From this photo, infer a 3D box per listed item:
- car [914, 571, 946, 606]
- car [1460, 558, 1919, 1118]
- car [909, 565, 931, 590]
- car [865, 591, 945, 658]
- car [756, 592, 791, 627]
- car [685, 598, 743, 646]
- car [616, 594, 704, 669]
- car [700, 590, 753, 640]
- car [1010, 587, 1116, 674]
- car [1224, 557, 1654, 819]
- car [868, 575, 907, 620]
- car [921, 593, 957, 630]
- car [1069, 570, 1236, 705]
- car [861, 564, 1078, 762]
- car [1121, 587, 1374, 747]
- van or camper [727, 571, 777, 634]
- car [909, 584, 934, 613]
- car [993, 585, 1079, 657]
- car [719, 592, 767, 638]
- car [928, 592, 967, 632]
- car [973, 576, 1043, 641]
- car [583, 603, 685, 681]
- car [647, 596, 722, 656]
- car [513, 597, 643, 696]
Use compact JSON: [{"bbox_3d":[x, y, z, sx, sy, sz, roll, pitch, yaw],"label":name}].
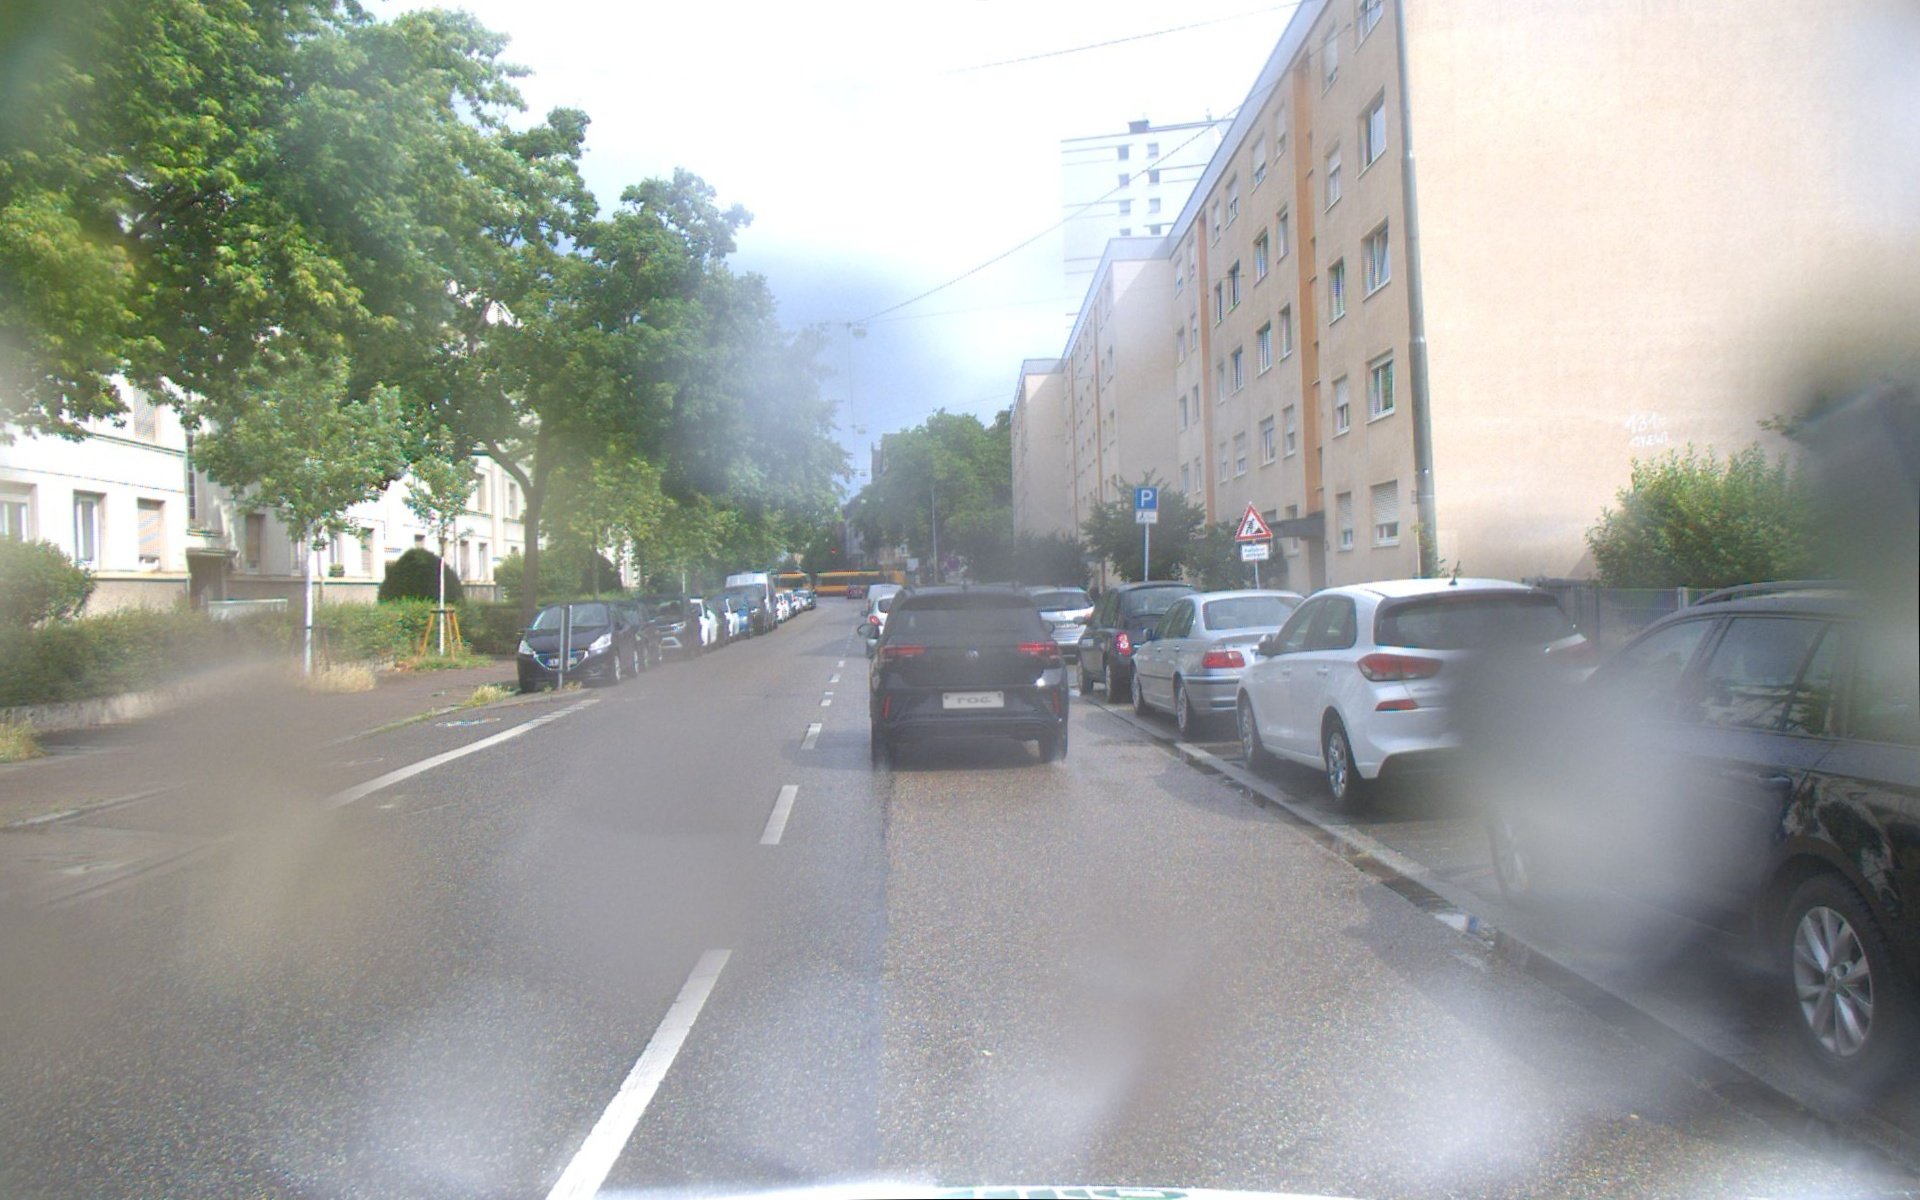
[{"bbox_3d":[-1.716,-0.665,93.679,1.632,1.869,3.999,-3,0,-2],"label":"car"},{"bbox_3d":[3.393,0.643,6.194,1.572,1.534,4.158,-4,0,-2],"label":"car"},{"bbox_3d":[-3.197,-1.739,131.388,1.632,1.869,3.999,-3,0,-2],"label":"car"},{"bbox_3d":[-1.281,0.582,39.965,1.776,1.529,4.000,0,-1,0],"label":"car"},{"bbox_3d":[-9.603,0.472,85.231,1.555,1.668,3.917,-3,0,-4],"label":"car"},{"bbox_3d":[-8.151,0.700,55.023,1.555,1.442,3.917,-3,0,-4],"label":"car"},{"bbox_3d":[-7.122,0.713,39.542,1.555,1.603,4.011,-3,0,-4],"label":"car"},{"bbox_3d":[-8.374,0.516,59.528,1.555,1.668,3.917,-3,0,-4],"label":"car"},{"bbox_3d":[2.018,0.568,33.428,1.661,1.565,4.030,-3,0,-2],"label":"car"},{"bbox_3d":[3.253,0.595,12.134,1.714,1.534,4.108,-2,-2,-3],"label":"car"},{"bbox_3d":[-3.487,-0.109,80.180,1.799,2.140,3.999,0,-1,-1],"label":"car"},{"bbox_3d":[-1.118,0.578,86.601,1.573,1.796,4.029,-3,0,-3],"label":"car"},{"bbox_3d":[2.568,0.452,22.911,1.573,1.690,4.029,-1,1,-4],"label":"car"},{"bbox_3d":[0.091,0.529,16.027,1.835,1.674,4.062,0,0,0],"label":"car"},{"bbox_3d":[2.917,0.620,17.670,1.682,1.478,4.256,-1,0,-4],"label":"car"},{"bbox_3d":[-8.991,0.100,71.762,1.767,2.537,5.016,-3,0,-4],"label":"van or camper"},{"bbox_3d":[-2.645,-0.116,113.017,1.632,1.869,3.999,-3,0,-2],"label":"car"},{"bbox_3d":[1.761,0.466,39.643,1.573,1.532,4.029,-3,0,-3],"label":"car"},{"bbox_3d":[-8.522,0.559,65.065,1.555,1.668,3.917,-3,0,-4],"label":"car"},{"bbox_3d":[-0.635,0.568,80.530,1.573,1.796,4.029,-3,0,-3],"label":"car"},{"bbox_3d":[1.330,0.222,47.567,1.573,1.701,4.029,-3,0,-3],"label":"car"},{"bbox_3d":[-6.833,0.842,34.984,1.555,1.442,4.049,-3,0,-4],"label":"car"},{"bbox_3d":[-7.404,0.665,44.748,1.555,1.442,3.917,-3,0,-4],"label":"car"},{"bbox_3d":[-6.685,0.757,29.299,1.555,1.532,4.061,-3,0,-4],"label":"car"}]
